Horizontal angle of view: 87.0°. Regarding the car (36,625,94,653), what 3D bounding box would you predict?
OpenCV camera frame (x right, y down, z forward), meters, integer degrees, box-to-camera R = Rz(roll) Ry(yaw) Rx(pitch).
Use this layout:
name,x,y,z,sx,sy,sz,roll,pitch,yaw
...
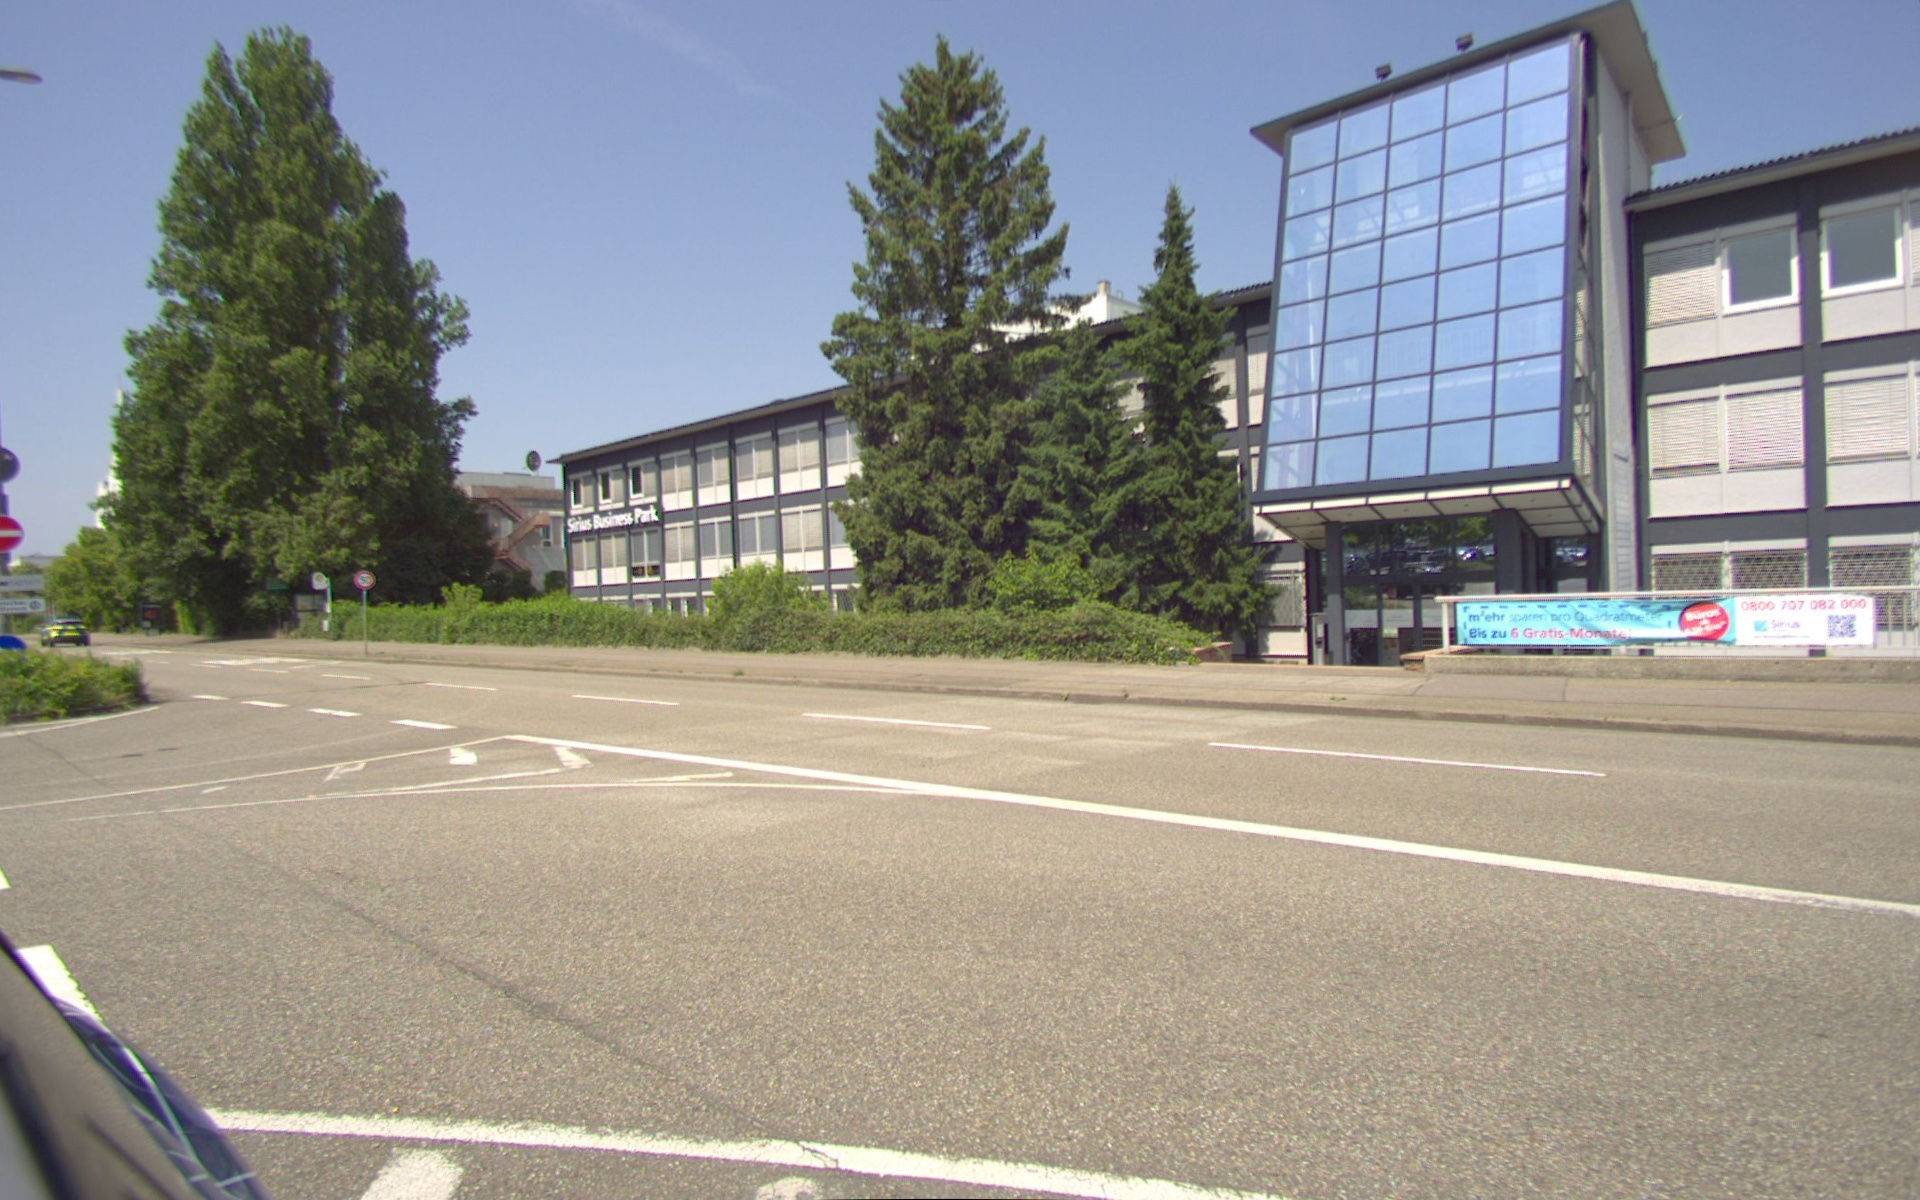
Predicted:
name,x,y,z,sx,sy,sz,roll,pitch,yaw
car,-52.418,2.266,59.245,4.282,1.572,1.875,-1,-1,39
